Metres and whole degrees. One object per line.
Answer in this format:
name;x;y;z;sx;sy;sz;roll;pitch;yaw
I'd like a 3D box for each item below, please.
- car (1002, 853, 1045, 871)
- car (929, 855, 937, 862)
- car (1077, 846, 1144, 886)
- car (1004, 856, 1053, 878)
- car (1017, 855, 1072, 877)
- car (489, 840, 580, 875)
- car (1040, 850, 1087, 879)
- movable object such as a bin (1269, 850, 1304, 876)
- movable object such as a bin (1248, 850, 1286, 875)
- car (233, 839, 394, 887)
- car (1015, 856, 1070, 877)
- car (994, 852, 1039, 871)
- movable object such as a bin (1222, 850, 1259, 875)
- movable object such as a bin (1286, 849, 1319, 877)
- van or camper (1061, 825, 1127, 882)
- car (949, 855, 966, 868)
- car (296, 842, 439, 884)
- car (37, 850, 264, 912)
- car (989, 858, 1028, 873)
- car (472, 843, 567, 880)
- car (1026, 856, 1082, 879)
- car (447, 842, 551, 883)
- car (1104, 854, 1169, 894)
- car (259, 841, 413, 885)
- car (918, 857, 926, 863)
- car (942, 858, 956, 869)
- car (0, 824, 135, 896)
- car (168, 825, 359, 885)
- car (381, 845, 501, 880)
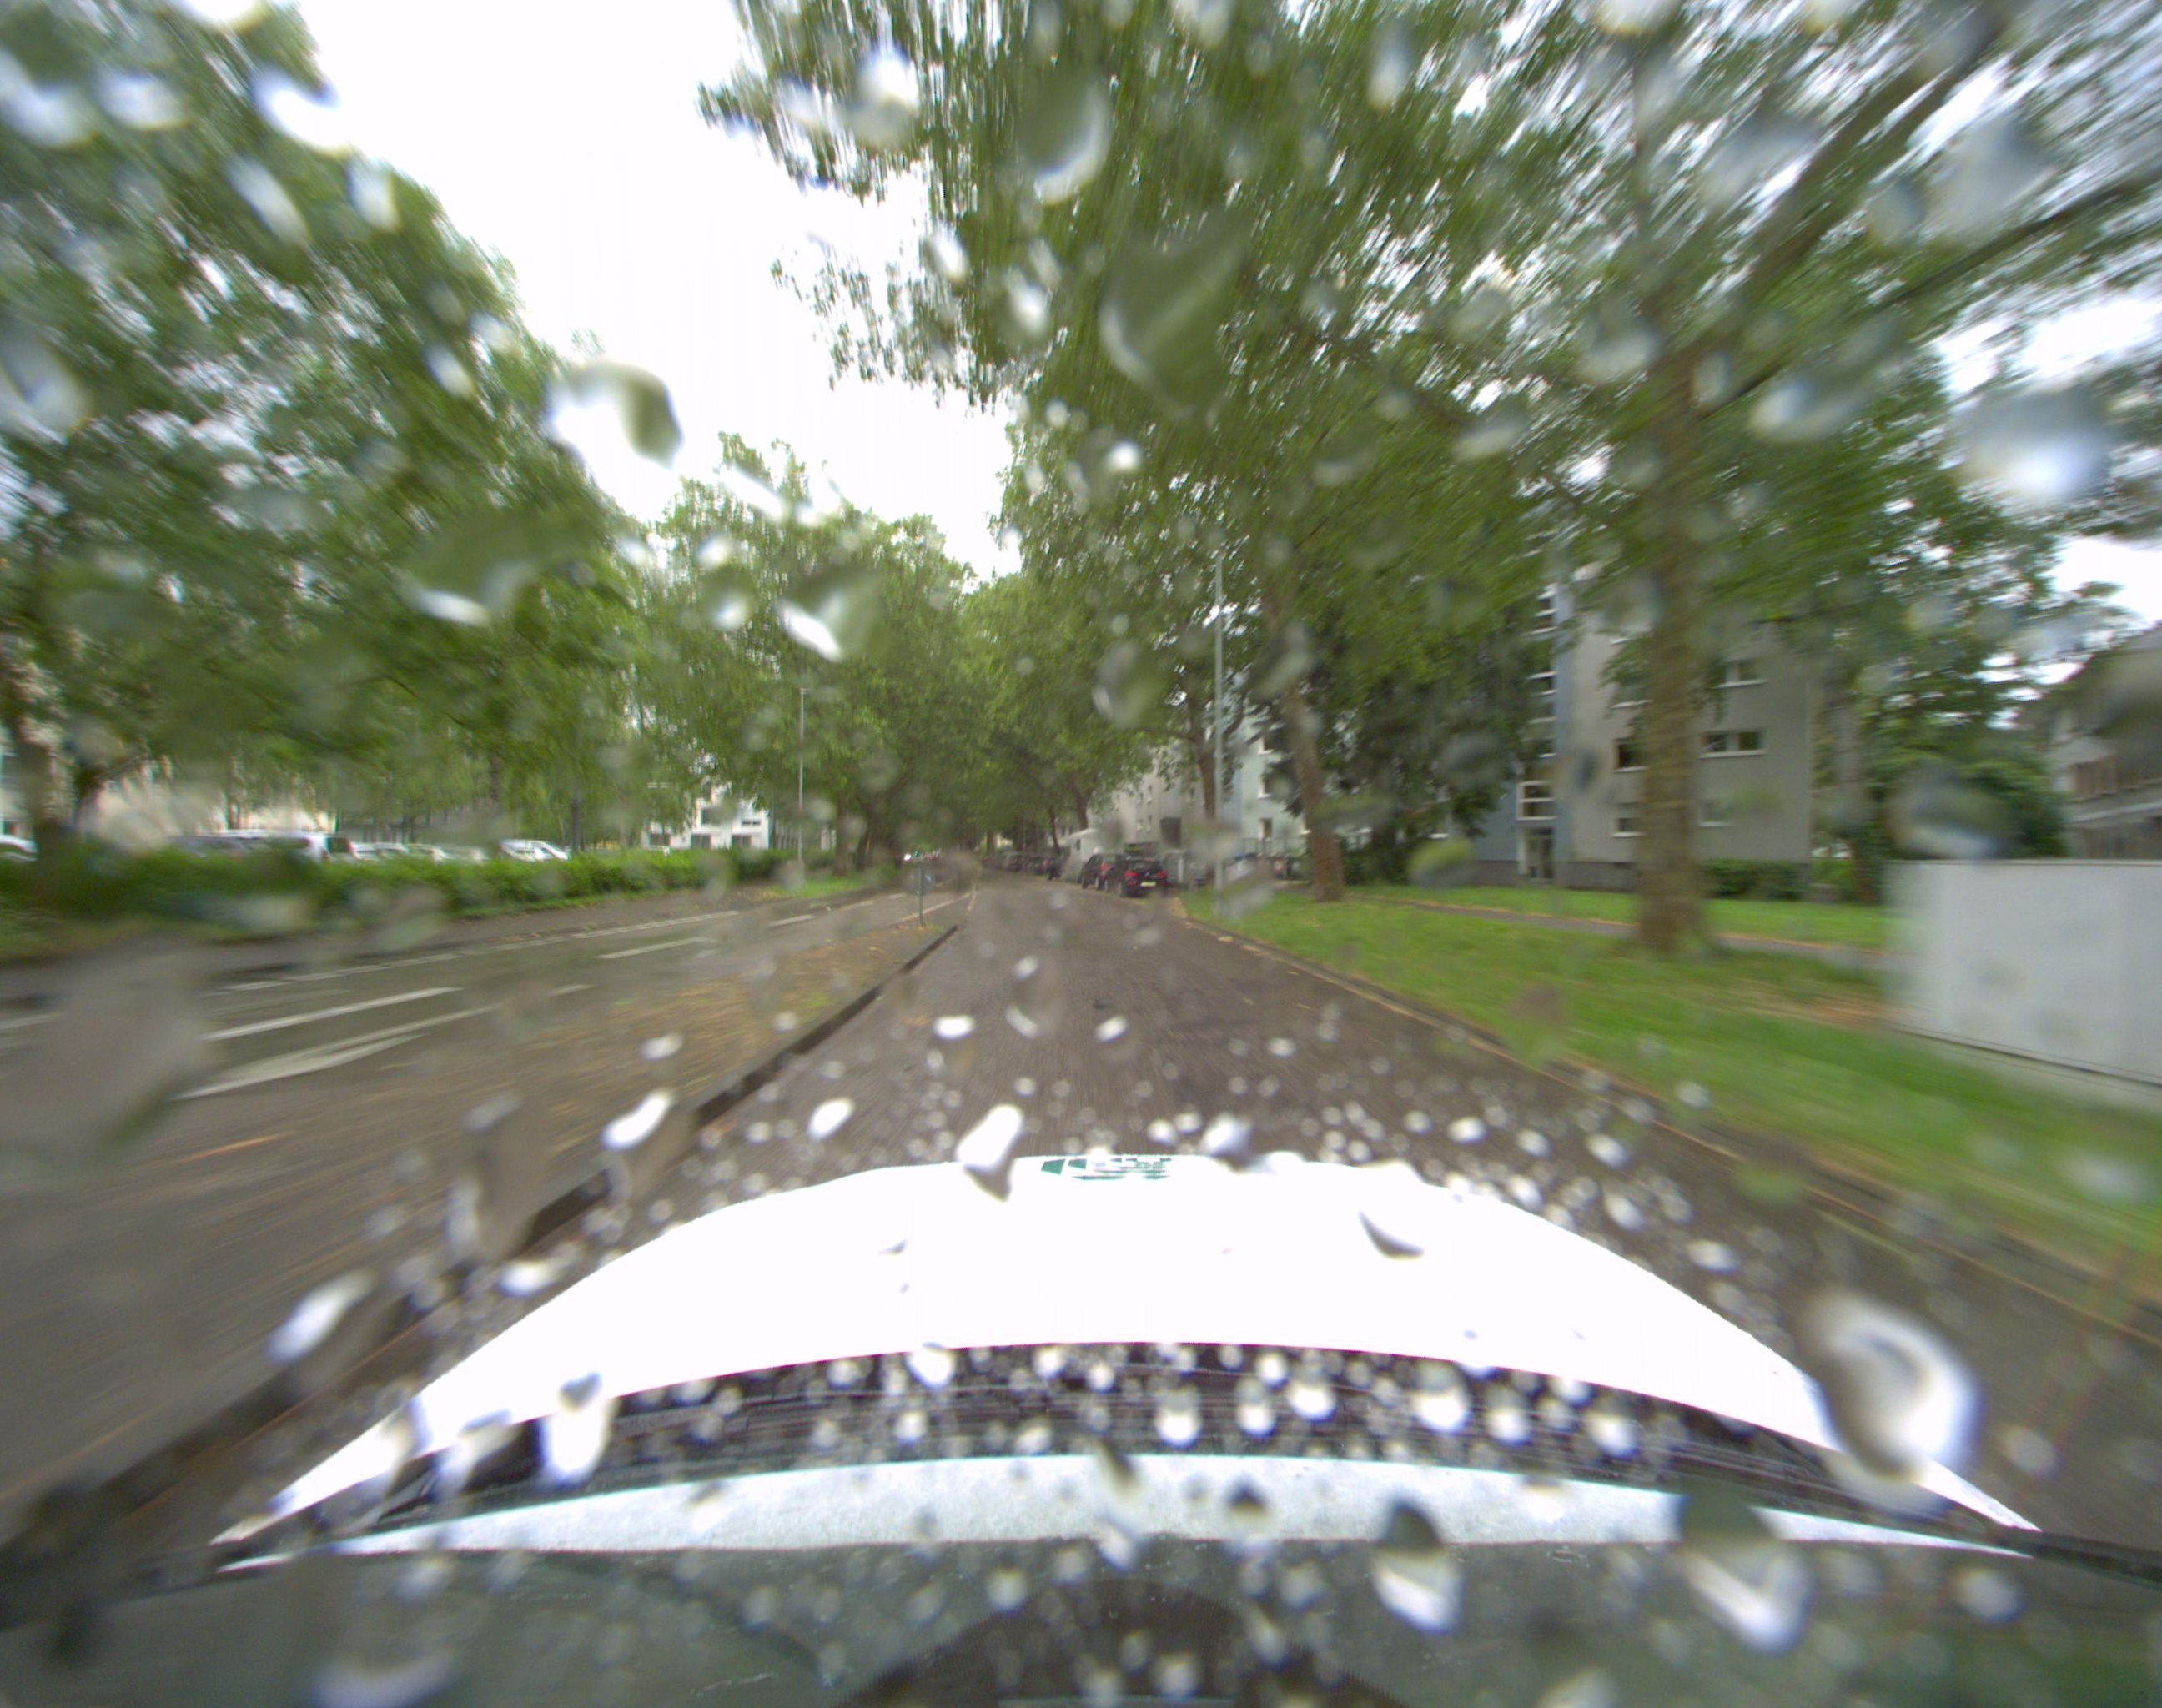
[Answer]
car;-5.595;0.787;79.396;3.988;1.727;1.794;1;0;-11
car;-33.687;1.027;185.086;1.707;1.411;3.630;-2;0;-12
car;1.220;0.577;36.228;1.917;1.620;4.434;1;-2;-13
car;-4.476;1.106;69.840;3.887;1.697;1.816;-2;2;-40
car;-2.797;0.957;62.777;4.021;1.601;1.781;2;-1;-42
car;-32.552;0.199;48.627;3.988;2.013;1.993;0;0;-11
car;-1.071;0.635;49.356;1.696;1.653;2.920;1;0;-28
movable object such as a bin;11.444;0.511;45.337;1.325;1.432;1.358;1;-1;-29
movable object such as a bin;10.684;0.477;46.786;1.220;1.432;1.845;1;0;-29
car;-27.566;0.326;29.390;3.812;1.599;1.710;1;0;-15
car;-3.142;1.029;66.932;4.019;1.601;2.012;1;0;-39
car;-6.549;0.757;82.807;4.340;1.762;1.811;1;0;-12
movable object such as a bin;9.447;0.484;48.253;1.220;1.432;1.845;1;0;-29
movable object such as a bin;11.953;0.467;43.922;1.165;1.473;1.212;-2;1;-30
van or camper;0.573;0.012;44.086;2.319;2.807;6.840;1;-1;-10
car;-13.657;0.838;89.978;1.707;1.411;3.630;-2;0;-12
car;-29.276;0.366;33.554;3.989;1.599;1.847;1;0;-12
car;-26.429;0.756;23.277;3.989;1.638;1.702;1;0;-12
car;-8.011;1.267;89.599;4.042;1.441;1.677;-2;0;-15
car;-31.824;0.403;46.273;3.988;2.013;1.993;0;0;-11
car;-1.939;1.000;59.277;3.789;1.601;1.781;2;-1;-42
car;-30.863;0.430;43.329;3.988;2.133;1.993;0;0;-11
car;2.035;0.711;30.972;1.548;1.390;4.136;1;0;-9
car;-28.831;0.352;31.652;3.989;1.599;1.847;1;0;-12
car;-36.231;1.365;185.325;1.679;1.388;4.532;-1;0;-11
car;-18.353;1.342;113.026;1.707;1.411;3.630;-2;0;-12
car;-26.049;0.113;19.463;3.994;1.638;1.990;1;0;-15
car;-26.916;0.062;26.979;3.994;1.833;1.845;1;0;-15
car;-30.104;0.399;38.414;3.986;1.551;1.880;1;-1;-9
